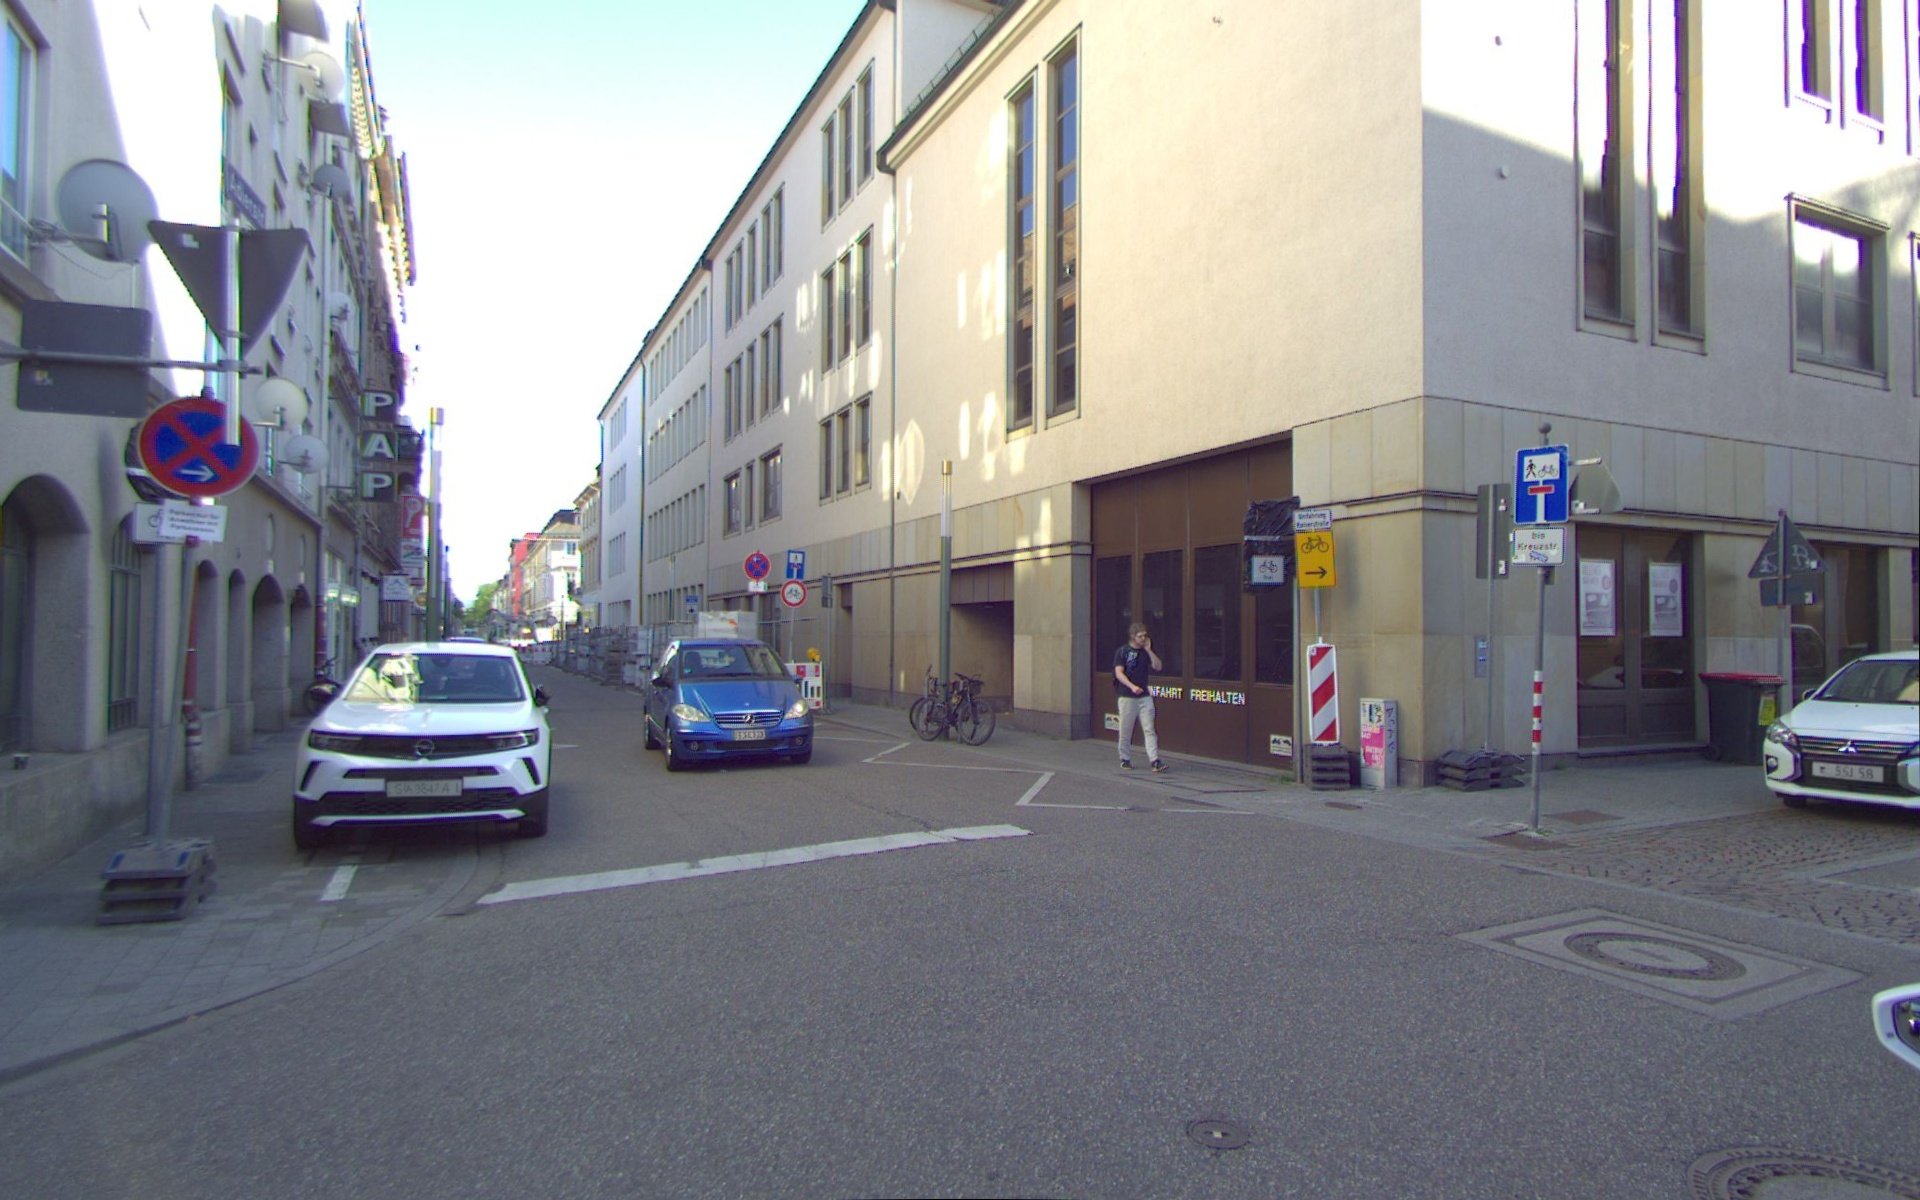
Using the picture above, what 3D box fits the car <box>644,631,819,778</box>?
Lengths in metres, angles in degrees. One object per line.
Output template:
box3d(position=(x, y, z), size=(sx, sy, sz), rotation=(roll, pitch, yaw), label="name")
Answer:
box3d(position=(-3.189, 1.262, 13.454), size=(1.829, 1.614, 3.790), rotation=(-1, -2, -20), label="car")

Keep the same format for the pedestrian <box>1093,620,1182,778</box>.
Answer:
box3d(position=(2.207, 1.210, 12.522), size=(0.710, 1.878, 0.852), rotation=(3, -4, -38), label="pedestrian")

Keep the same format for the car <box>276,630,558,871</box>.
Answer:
box3d(position=(-4.556, 1.114, 8.943), size=(1.719, 1.614, 3.948), rotation=(2, -3, -23), label="car")

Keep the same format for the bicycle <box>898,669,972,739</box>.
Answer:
box3d(position=(-0.433, 1.696, 16.631), size=(0.300, 1.064, 1.523), rotation=(2, -2, -42), label="bicycle")

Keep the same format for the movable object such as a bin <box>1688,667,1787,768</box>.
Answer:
box3d(position=(9.244, 1.375, 11.952), size=(0.583, 1.115, 0.734), rotation=(2, 0, -25), label="movable object such as a bin")

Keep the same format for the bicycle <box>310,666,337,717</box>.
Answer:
box3d(position=(-12.077, 1.721, 19.075), size=(0.216, 0.869, 1.060), rotation=(2, 0, -22), label="bicycle")

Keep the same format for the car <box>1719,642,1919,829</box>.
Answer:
box3d(position=(9.220, 1.168, 9.537), size=(3.751, 1.511, 1.731), rotation=(1, -4, -27), label="car")

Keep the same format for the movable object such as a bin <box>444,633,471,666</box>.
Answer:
box3d(position=(-23.993, 2.351, 47.948), size=(1.071, 1.564, 0.901), rotation=(3, -3, -30), label="movable object such as a bin")

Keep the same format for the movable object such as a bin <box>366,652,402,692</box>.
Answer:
box3d(position=(-15.997, 1.984, 27.900), size=(0.828, 1.062, 0.748), rotation=(2, 0, -32), label="movable object such as a bin")

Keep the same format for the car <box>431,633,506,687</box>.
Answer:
box3d(position=(-15.207, 1.819, 30.979), size=(1.773, 1.545, 3.969), rotation=(3, -3, -30), label="car")

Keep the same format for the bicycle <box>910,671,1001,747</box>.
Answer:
box3d(position=(-0.096, 1.657, 15.573), size=(0.300, 1.064, 1.769), rotation=(2, -2, -42), label="bicycle")
